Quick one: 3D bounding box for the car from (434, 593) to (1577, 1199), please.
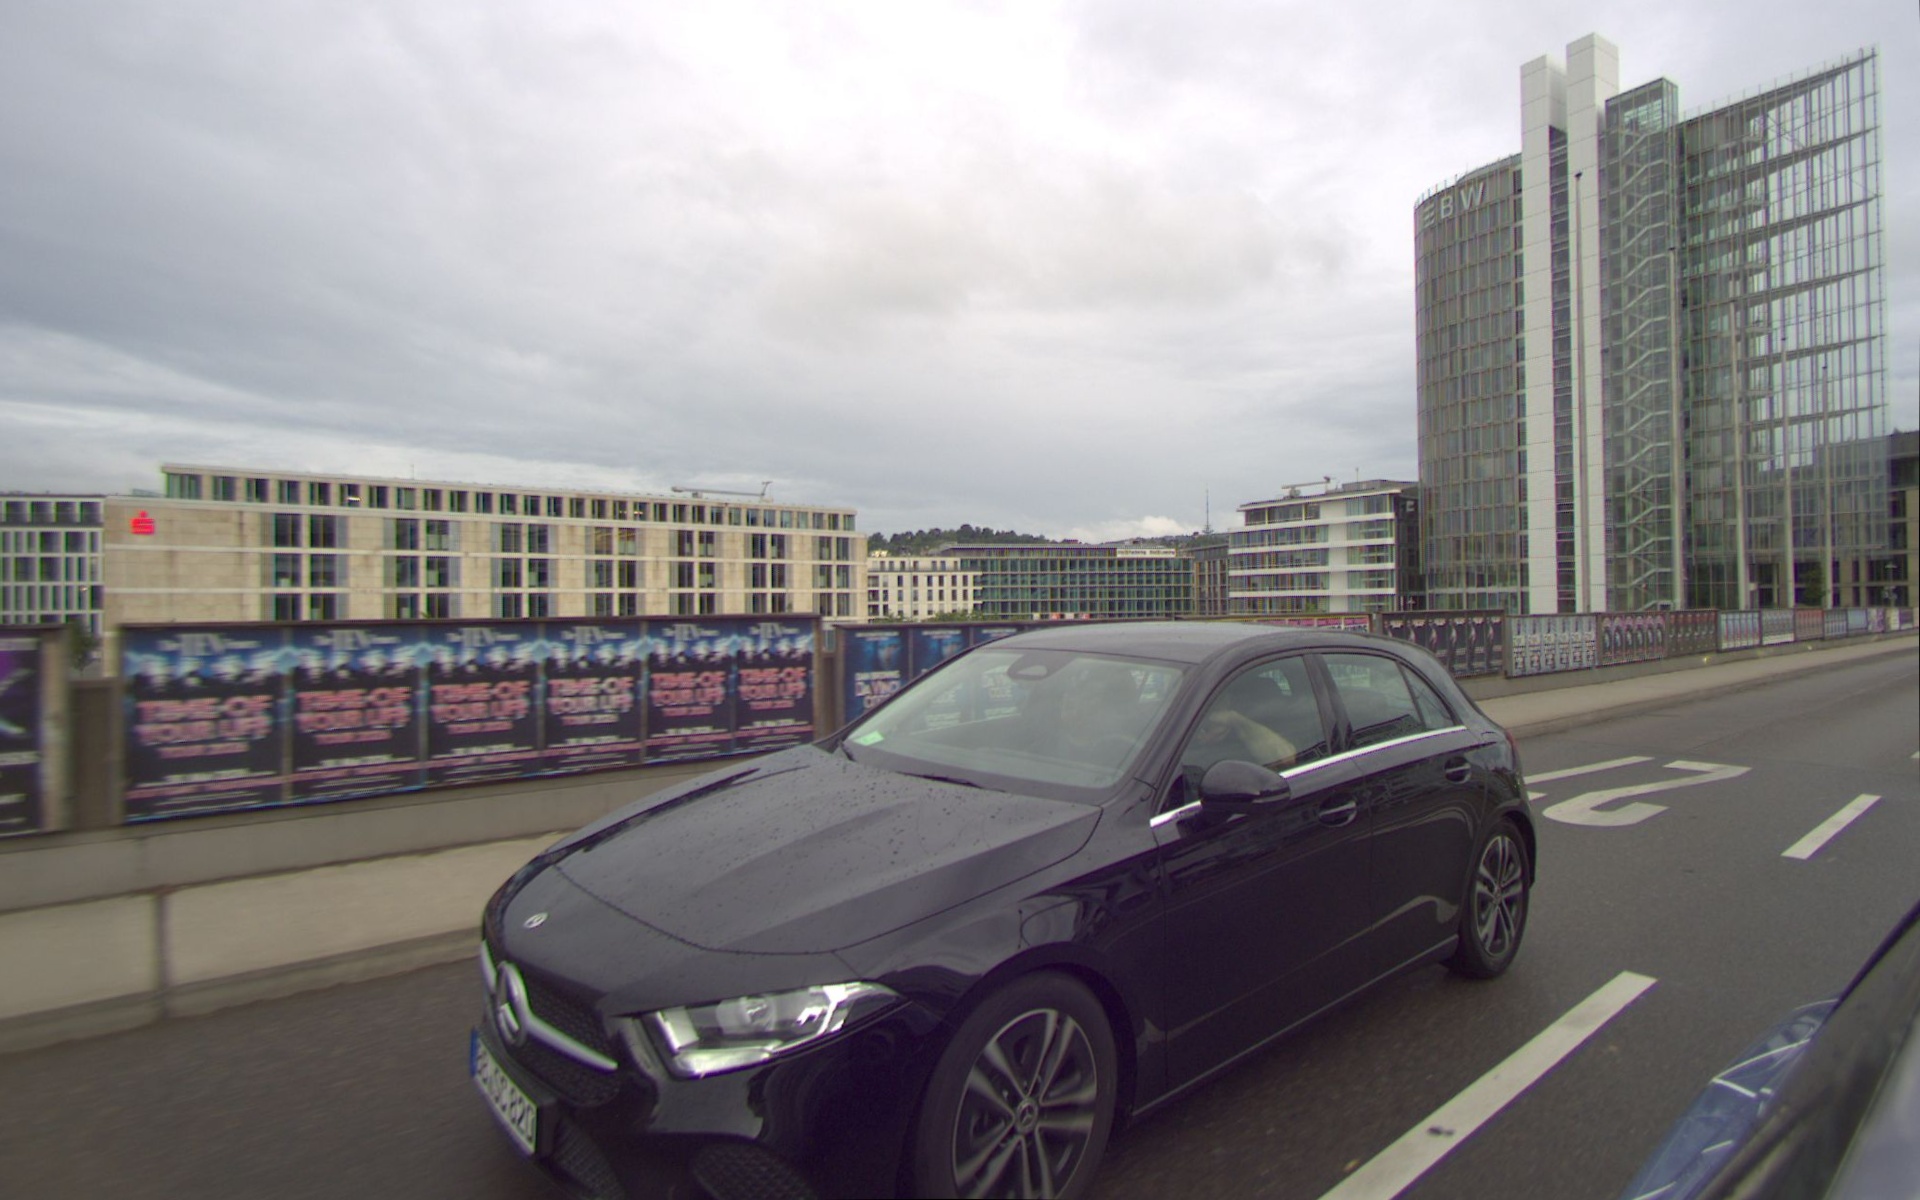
[{"bbox_3d":[0.555,0.697,3.659,4.083,1.393,1.726,-1,1,-41],"label":"car"}]
